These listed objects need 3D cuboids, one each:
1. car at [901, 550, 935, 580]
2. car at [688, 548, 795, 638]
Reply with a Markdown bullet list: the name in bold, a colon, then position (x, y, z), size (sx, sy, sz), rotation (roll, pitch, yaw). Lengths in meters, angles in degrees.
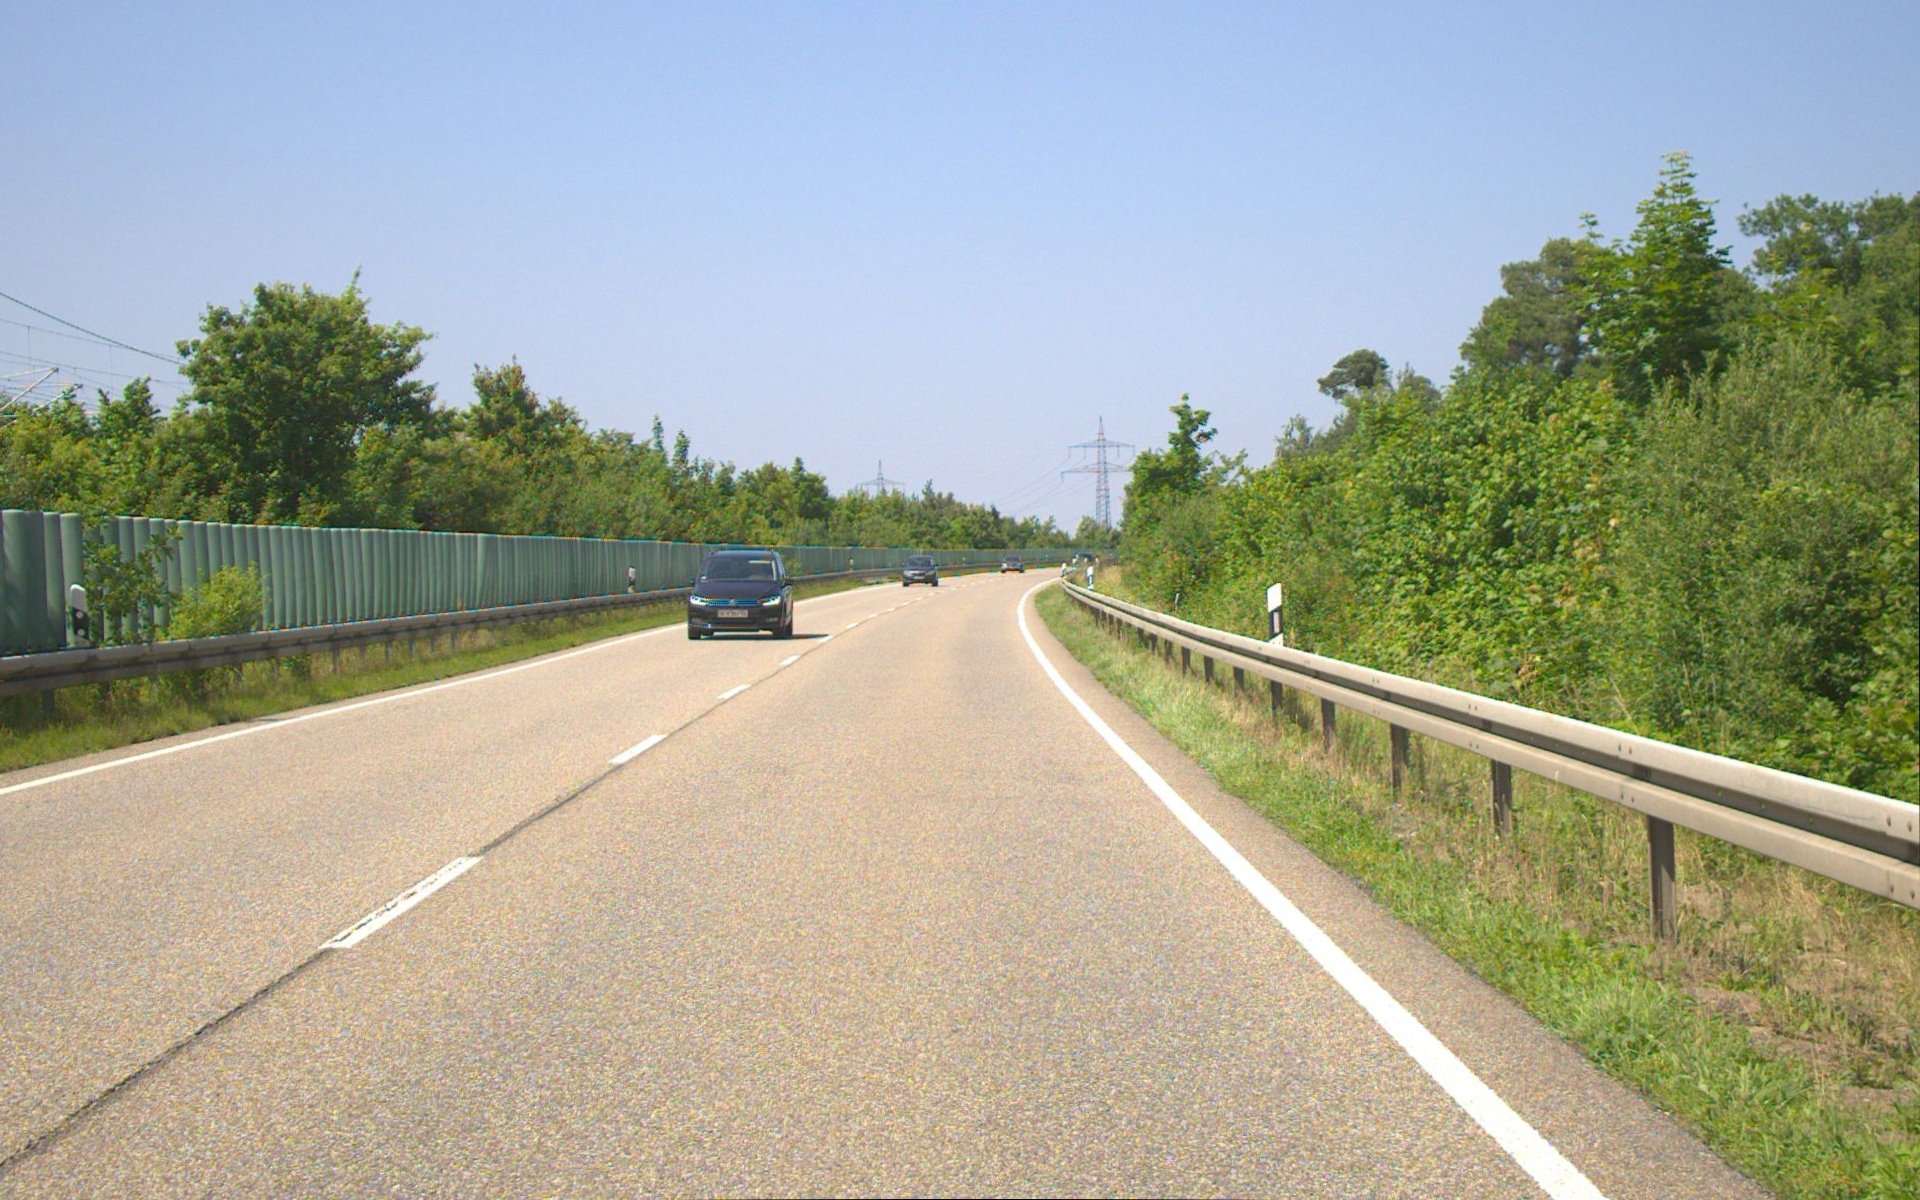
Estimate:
- **car**: position (-2.065, -1.729, 169.287), size (1.648, 1.474, 3.677), rotation (0, 1, 0)
- **car**: position (-4.072, -0.136, 64.674), size (1.764, 1.634, 4.126), rotation (0, 0, 0)
